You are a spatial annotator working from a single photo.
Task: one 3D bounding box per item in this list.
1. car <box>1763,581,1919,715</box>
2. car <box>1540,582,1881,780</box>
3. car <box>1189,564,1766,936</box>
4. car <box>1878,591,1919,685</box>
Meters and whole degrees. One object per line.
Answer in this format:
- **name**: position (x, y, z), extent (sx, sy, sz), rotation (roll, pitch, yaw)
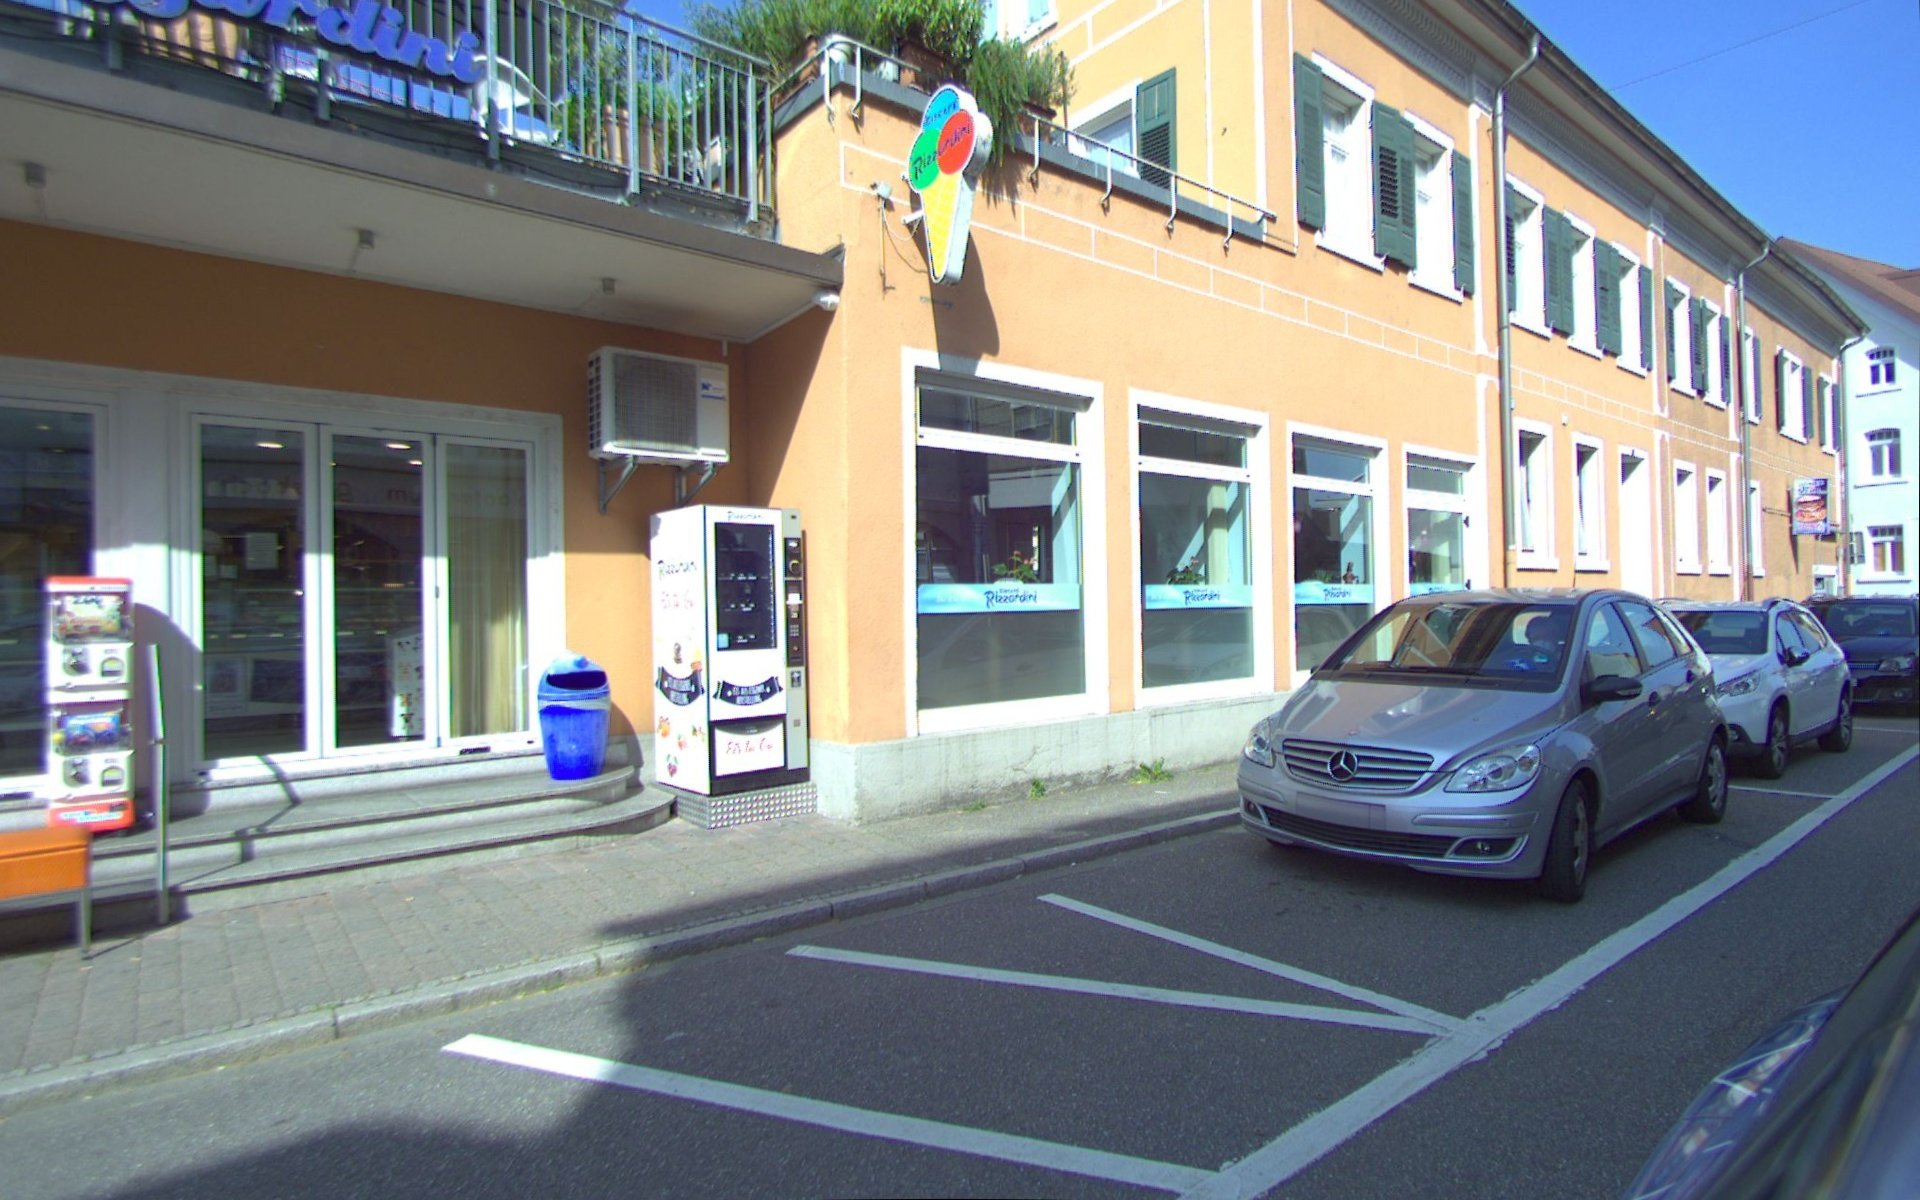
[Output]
- **car**: position (13.169, 0.590, 14.526), extent (4.173, 1.666, 1.683), rotation (0, 0, -38)
- **car**: position (7.511, 0.661, 9.999), extent (4.029, 1.579, 1.682), rotation (0, -1, -38)
- **car**: position (3.581, 0.667, 6.562), extent (4.514, 1.617, 1.748), rotation (0, -1, -41)
- **car**: position (17.874, 0.636, 17.979), extent (4.110, 1.559, 1.683), rotation (0, 0, -38)
